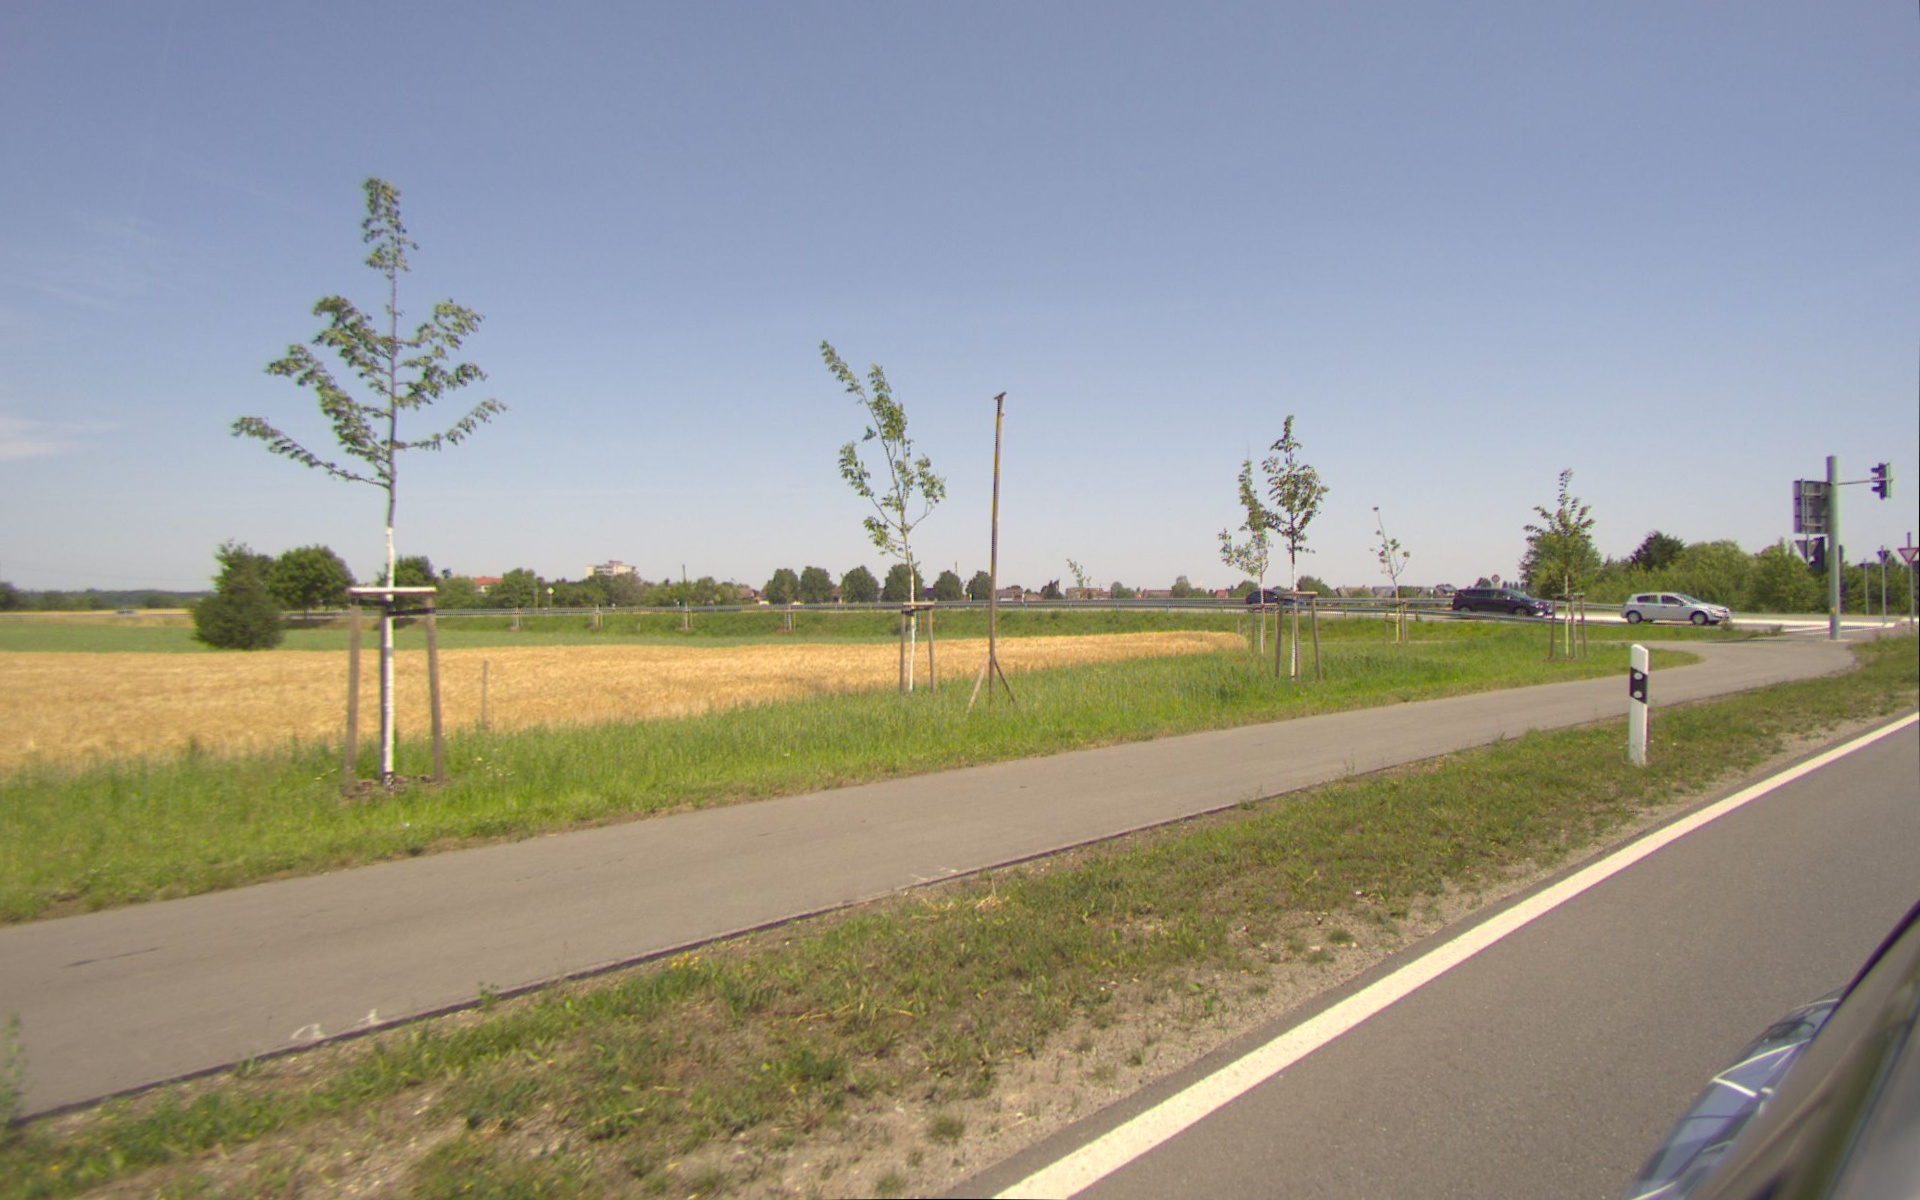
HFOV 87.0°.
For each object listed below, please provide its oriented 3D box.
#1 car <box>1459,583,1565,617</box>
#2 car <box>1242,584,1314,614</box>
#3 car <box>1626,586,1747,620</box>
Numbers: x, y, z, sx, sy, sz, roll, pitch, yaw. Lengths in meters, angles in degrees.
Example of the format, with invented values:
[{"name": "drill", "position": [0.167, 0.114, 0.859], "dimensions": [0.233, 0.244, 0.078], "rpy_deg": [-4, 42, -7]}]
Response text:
[{"name": "car", "position": [28.542, -0.023, 52.437], "dimensions": [1.779, 1.661, 4.528], "rpy_deg": [-1, 1, -34]}, {"name": "car", "position": [19.982, -0.067, 63.730], "dimensions": [3.900, 1.831, 1.893], "rpy_deg": [-1, 0, 39]}, {"name": "car", "position": [32.955, 0.118, 46.024], "dimensions": [1.629, 1.478, 4.153], "rpy_deg": [-1, 0, -34]}]
